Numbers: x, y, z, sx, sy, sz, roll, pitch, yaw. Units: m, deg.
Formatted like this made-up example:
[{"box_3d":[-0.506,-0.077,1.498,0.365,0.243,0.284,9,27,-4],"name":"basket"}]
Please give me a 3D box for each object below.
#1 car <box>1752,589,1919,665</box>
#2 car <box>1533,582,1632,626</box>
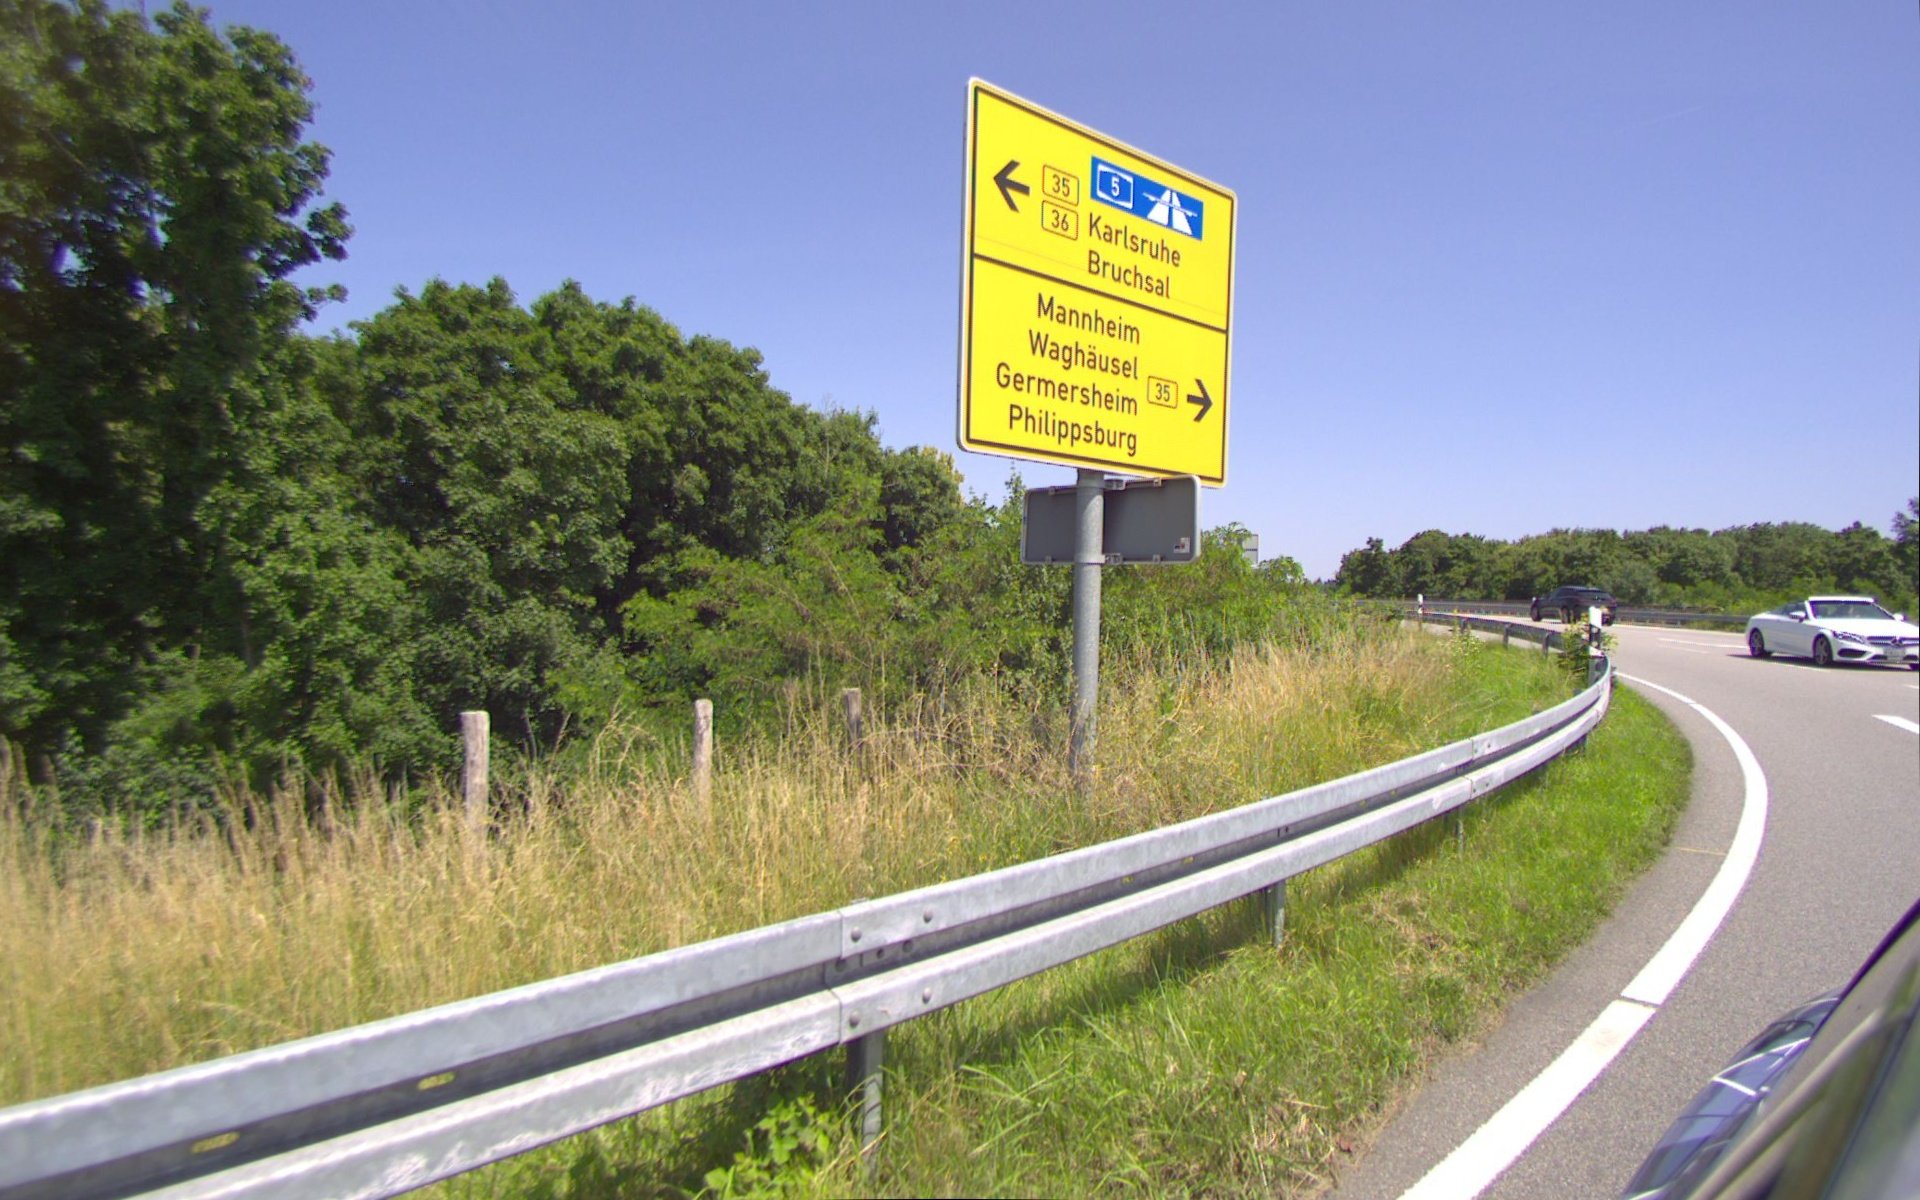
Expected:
[{"box_3d":[18.738,0.494,21.319,1.789,1.433,4.089,1,1,16],"name":"car"},{"box_3d":[27.126,0.150,44.310,1.687,1.678,4.561,5,1,5],"name":"car"}]
